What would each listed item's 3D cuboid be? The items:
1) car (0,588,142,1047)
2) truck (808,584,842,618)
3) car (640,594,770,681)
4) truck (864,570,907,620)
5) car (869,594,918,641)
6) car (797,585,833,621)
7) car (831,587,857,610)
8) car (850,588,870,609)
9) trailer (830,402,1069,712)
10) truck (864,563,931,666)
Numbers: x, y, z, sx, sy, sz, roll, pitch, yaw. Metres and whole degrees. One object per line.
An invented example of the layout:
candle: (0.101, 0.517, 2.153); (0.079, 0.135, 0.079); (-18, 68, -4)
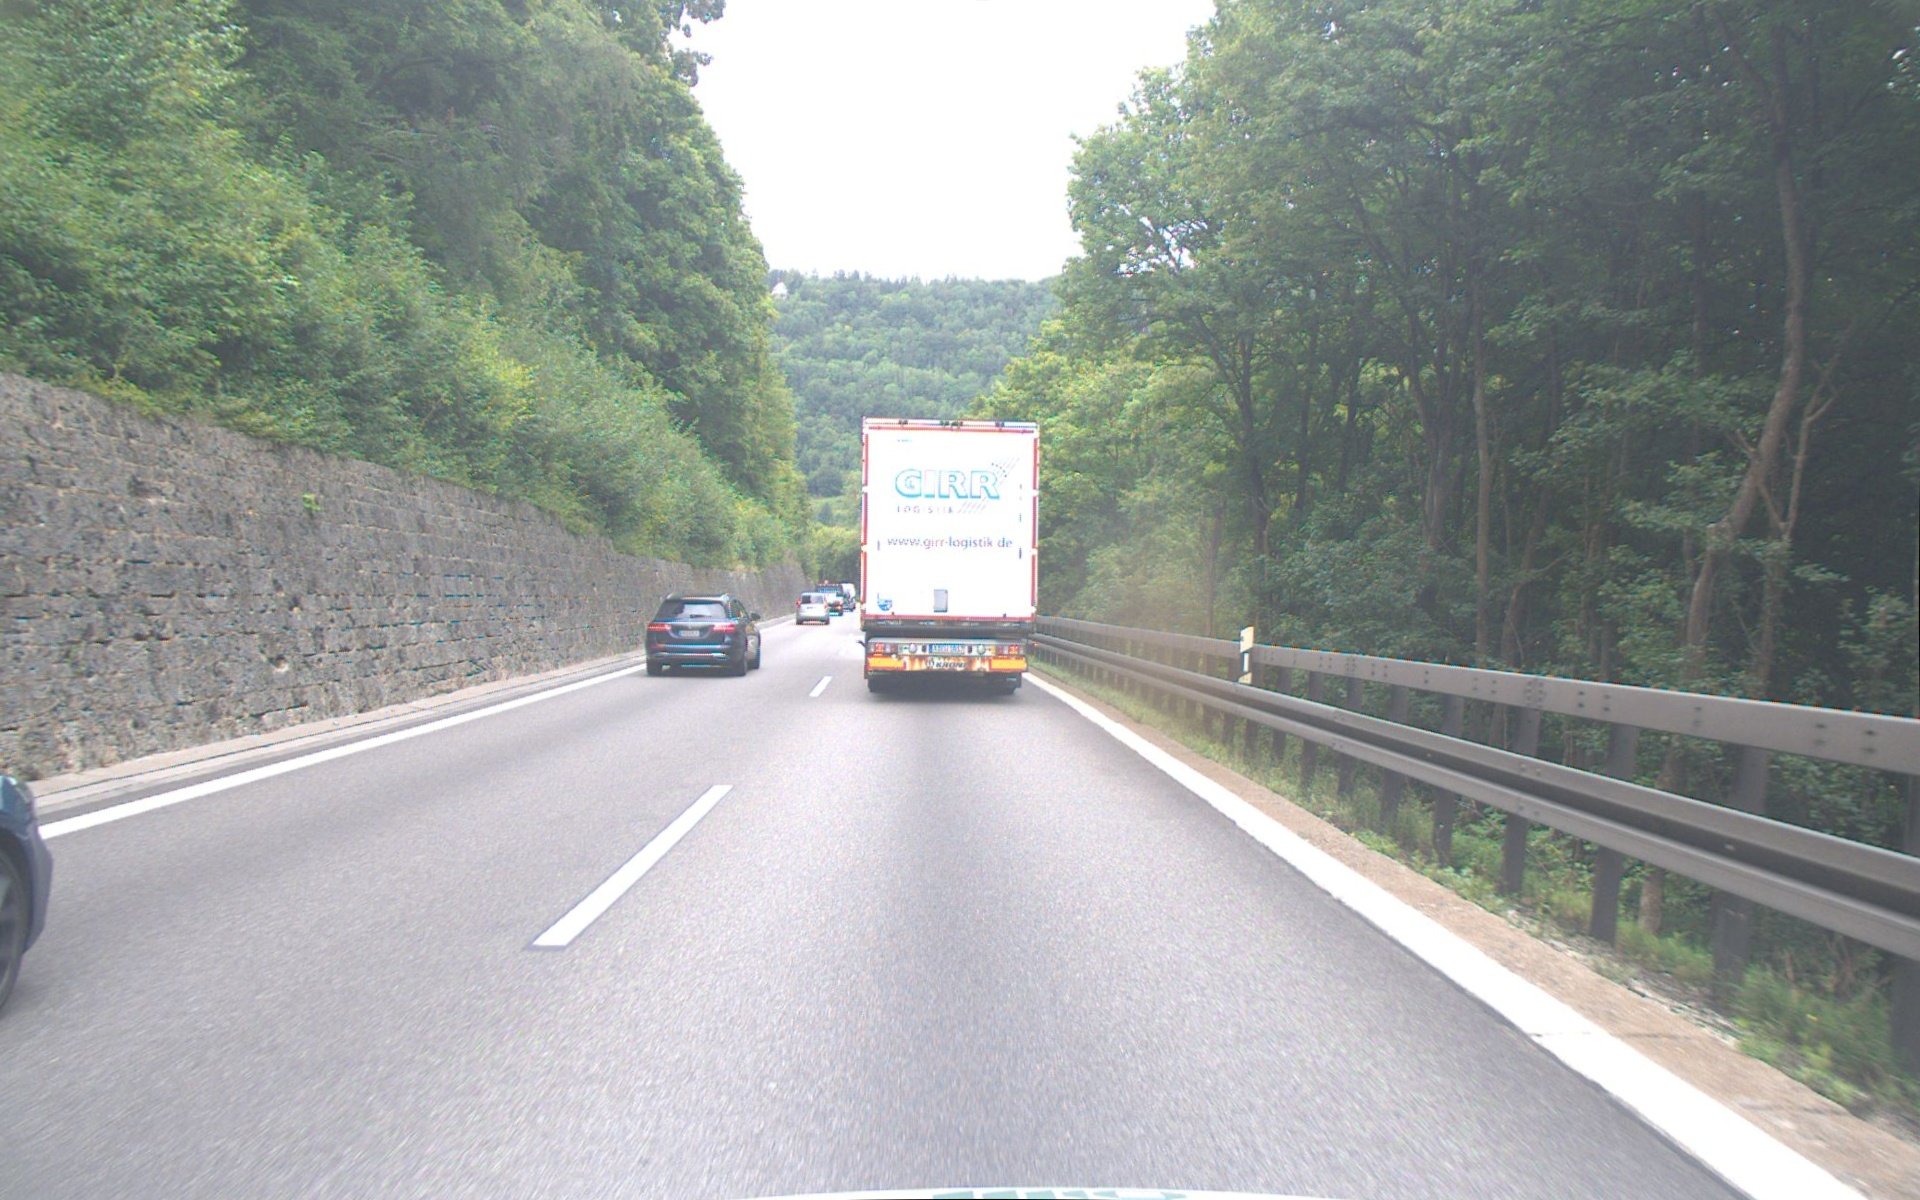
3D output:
car: (-3.983, 0.683, 3.977); (1.798, 1.494, 4.554); (1, 0, -1)
truck: (-9.732, 0.064, 119.693); (2.303, 2.313, 6.844); (3, 0, -4)
car: (-4.797, 0.650, 31.799); (1.725, 1.489, 5.122); (1, 0, -1)
truck: (-6.419, -0.418, 140.614); (3.010, 3.945, 8.447); (3, -1, -6)
car: (-3.166, 0.816, 78.213); (1.955, 2.049, 4.327); (3, -1, -6)
car: (-7.473, 0.177, 85.456); (1.601, 1.757, 4.342); (2, 0, -3)
car: (-10.386, -0.125, 148.673); (1.977, 1.947, 5.562); (3, 0, -1)
car: (-10.364, -0.117, 171.528); (1.954, 2.049, 3.996); (3, -1, -4)
trailer: (-0.354, -0.630, 27.827); (3.071, 4.112, 9.434); (4, 0, -3)
truck: (-2.616, 0.574, 67.458); (2.190, 3.870, 6.815); (3, -1, -5)
